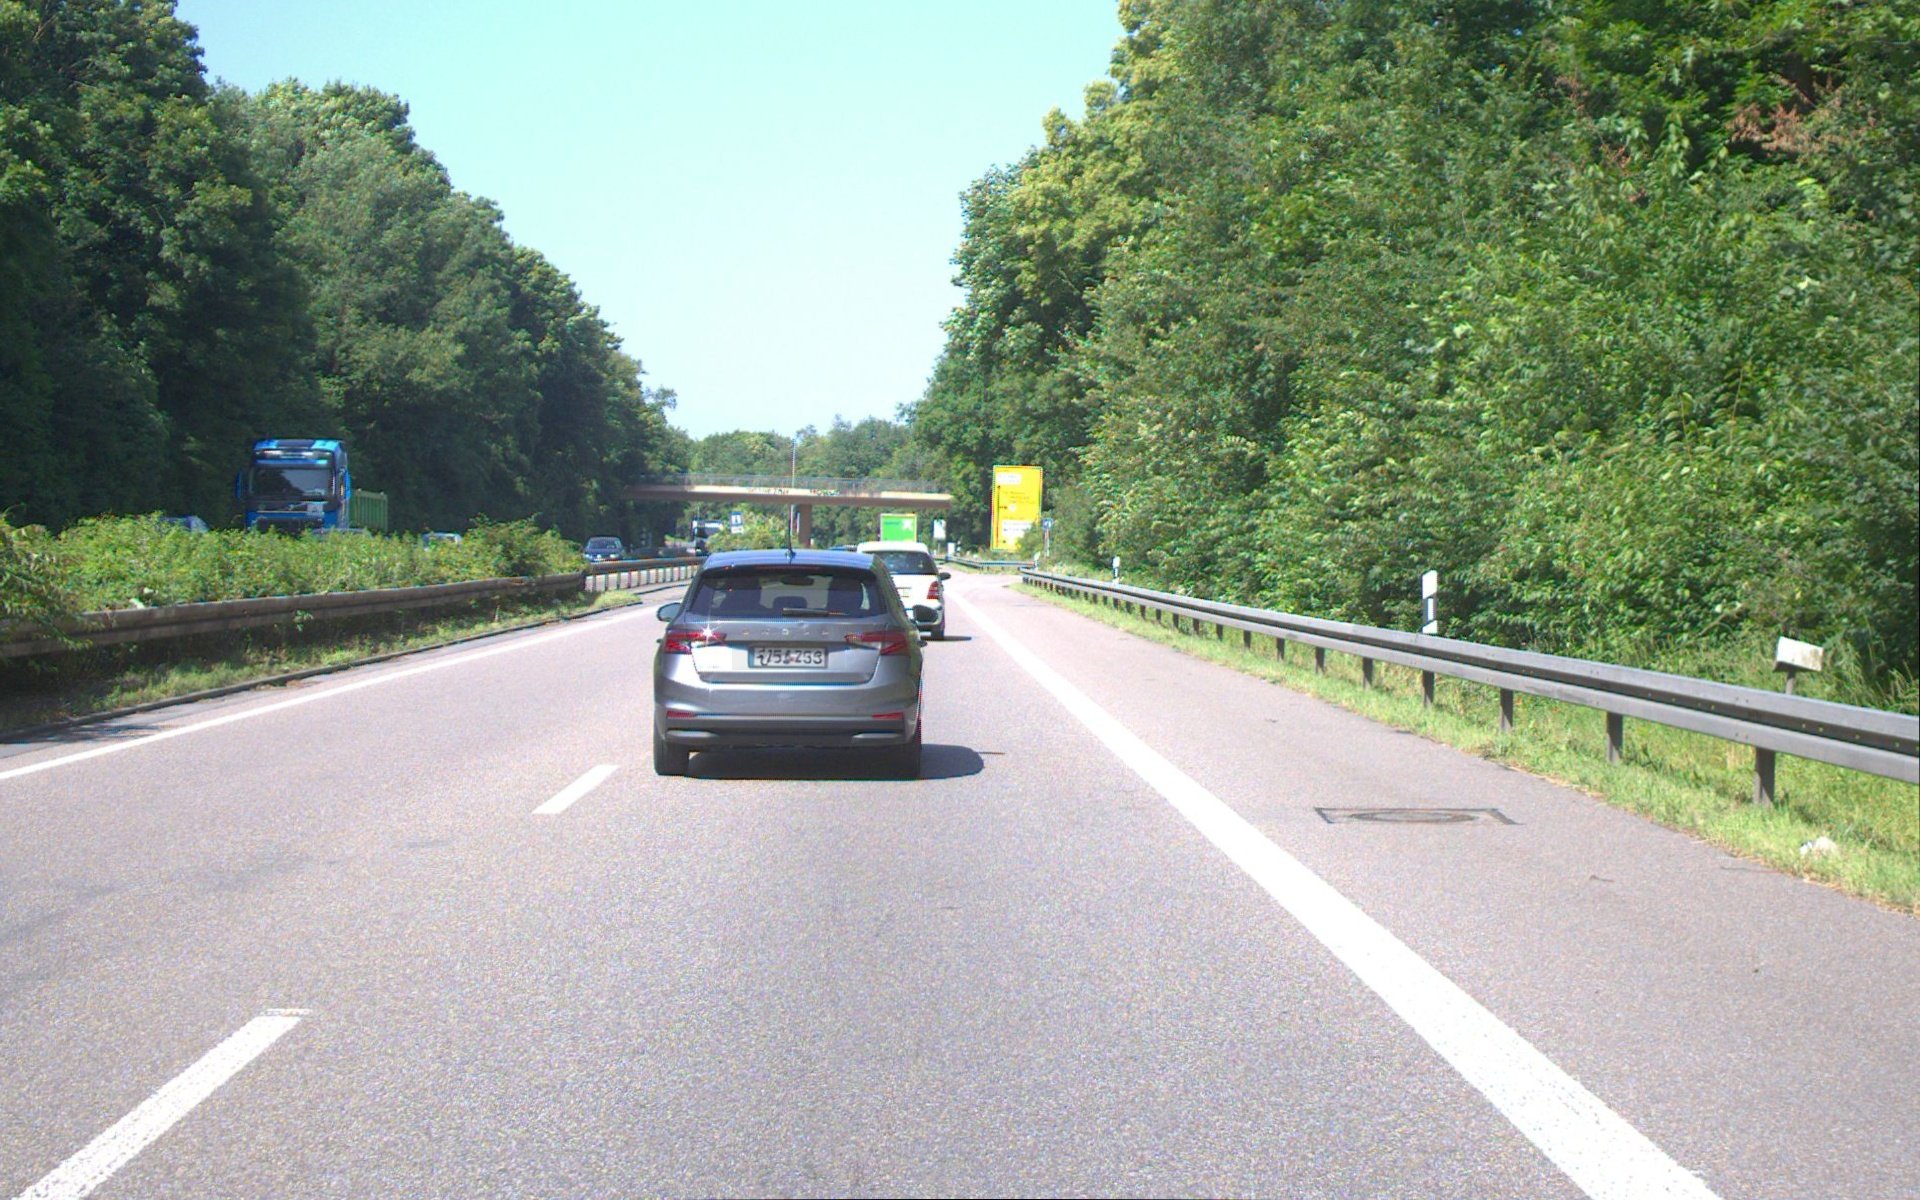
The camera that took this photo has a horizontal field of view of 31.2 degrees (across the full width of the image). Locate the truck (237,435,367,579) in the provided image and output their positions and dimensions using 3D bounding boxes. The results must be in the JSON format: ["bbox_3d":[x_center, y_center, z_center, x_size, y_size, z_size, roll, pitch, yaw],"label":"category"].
[{"bbox_3d":[-17.395,-2.445,91.097,2.646,3.693,4.000,1,1,0],"label":"truck"}]

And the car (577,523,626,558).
[{"bbox_3d":[-15.379,-2.551,147.633,1.672,1.468,3.623,1,1,1],"label":"car"}]

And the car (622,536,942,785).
[{"bbox_3d":[-1.088,0.333,22.620,1.840,1.467,3.623,1,1,1],"label":"car"}]

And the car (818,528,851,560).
[{"bbox_3d":[-8.102,-3.610,222.666,1.993,2.007,4.000,1,1,-1],"label":"car"}]

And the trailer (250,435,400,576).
[{"bbox_3d":[-17.500,-2.574,95.260,2.688,3.699,7.984,1,1,-1],"label":"trailer"}]

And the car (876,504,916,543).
[{"bbox_3d":[-4.503,-5.414,243.381,2.748,2.645,4.000,1,1,-1],"label":"car"}]

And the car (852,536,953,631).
[{"bbox_3d":[-0.907,-0.289,55.697,1.522,1.442,3.340,1,1,1],"label":"car"}]
